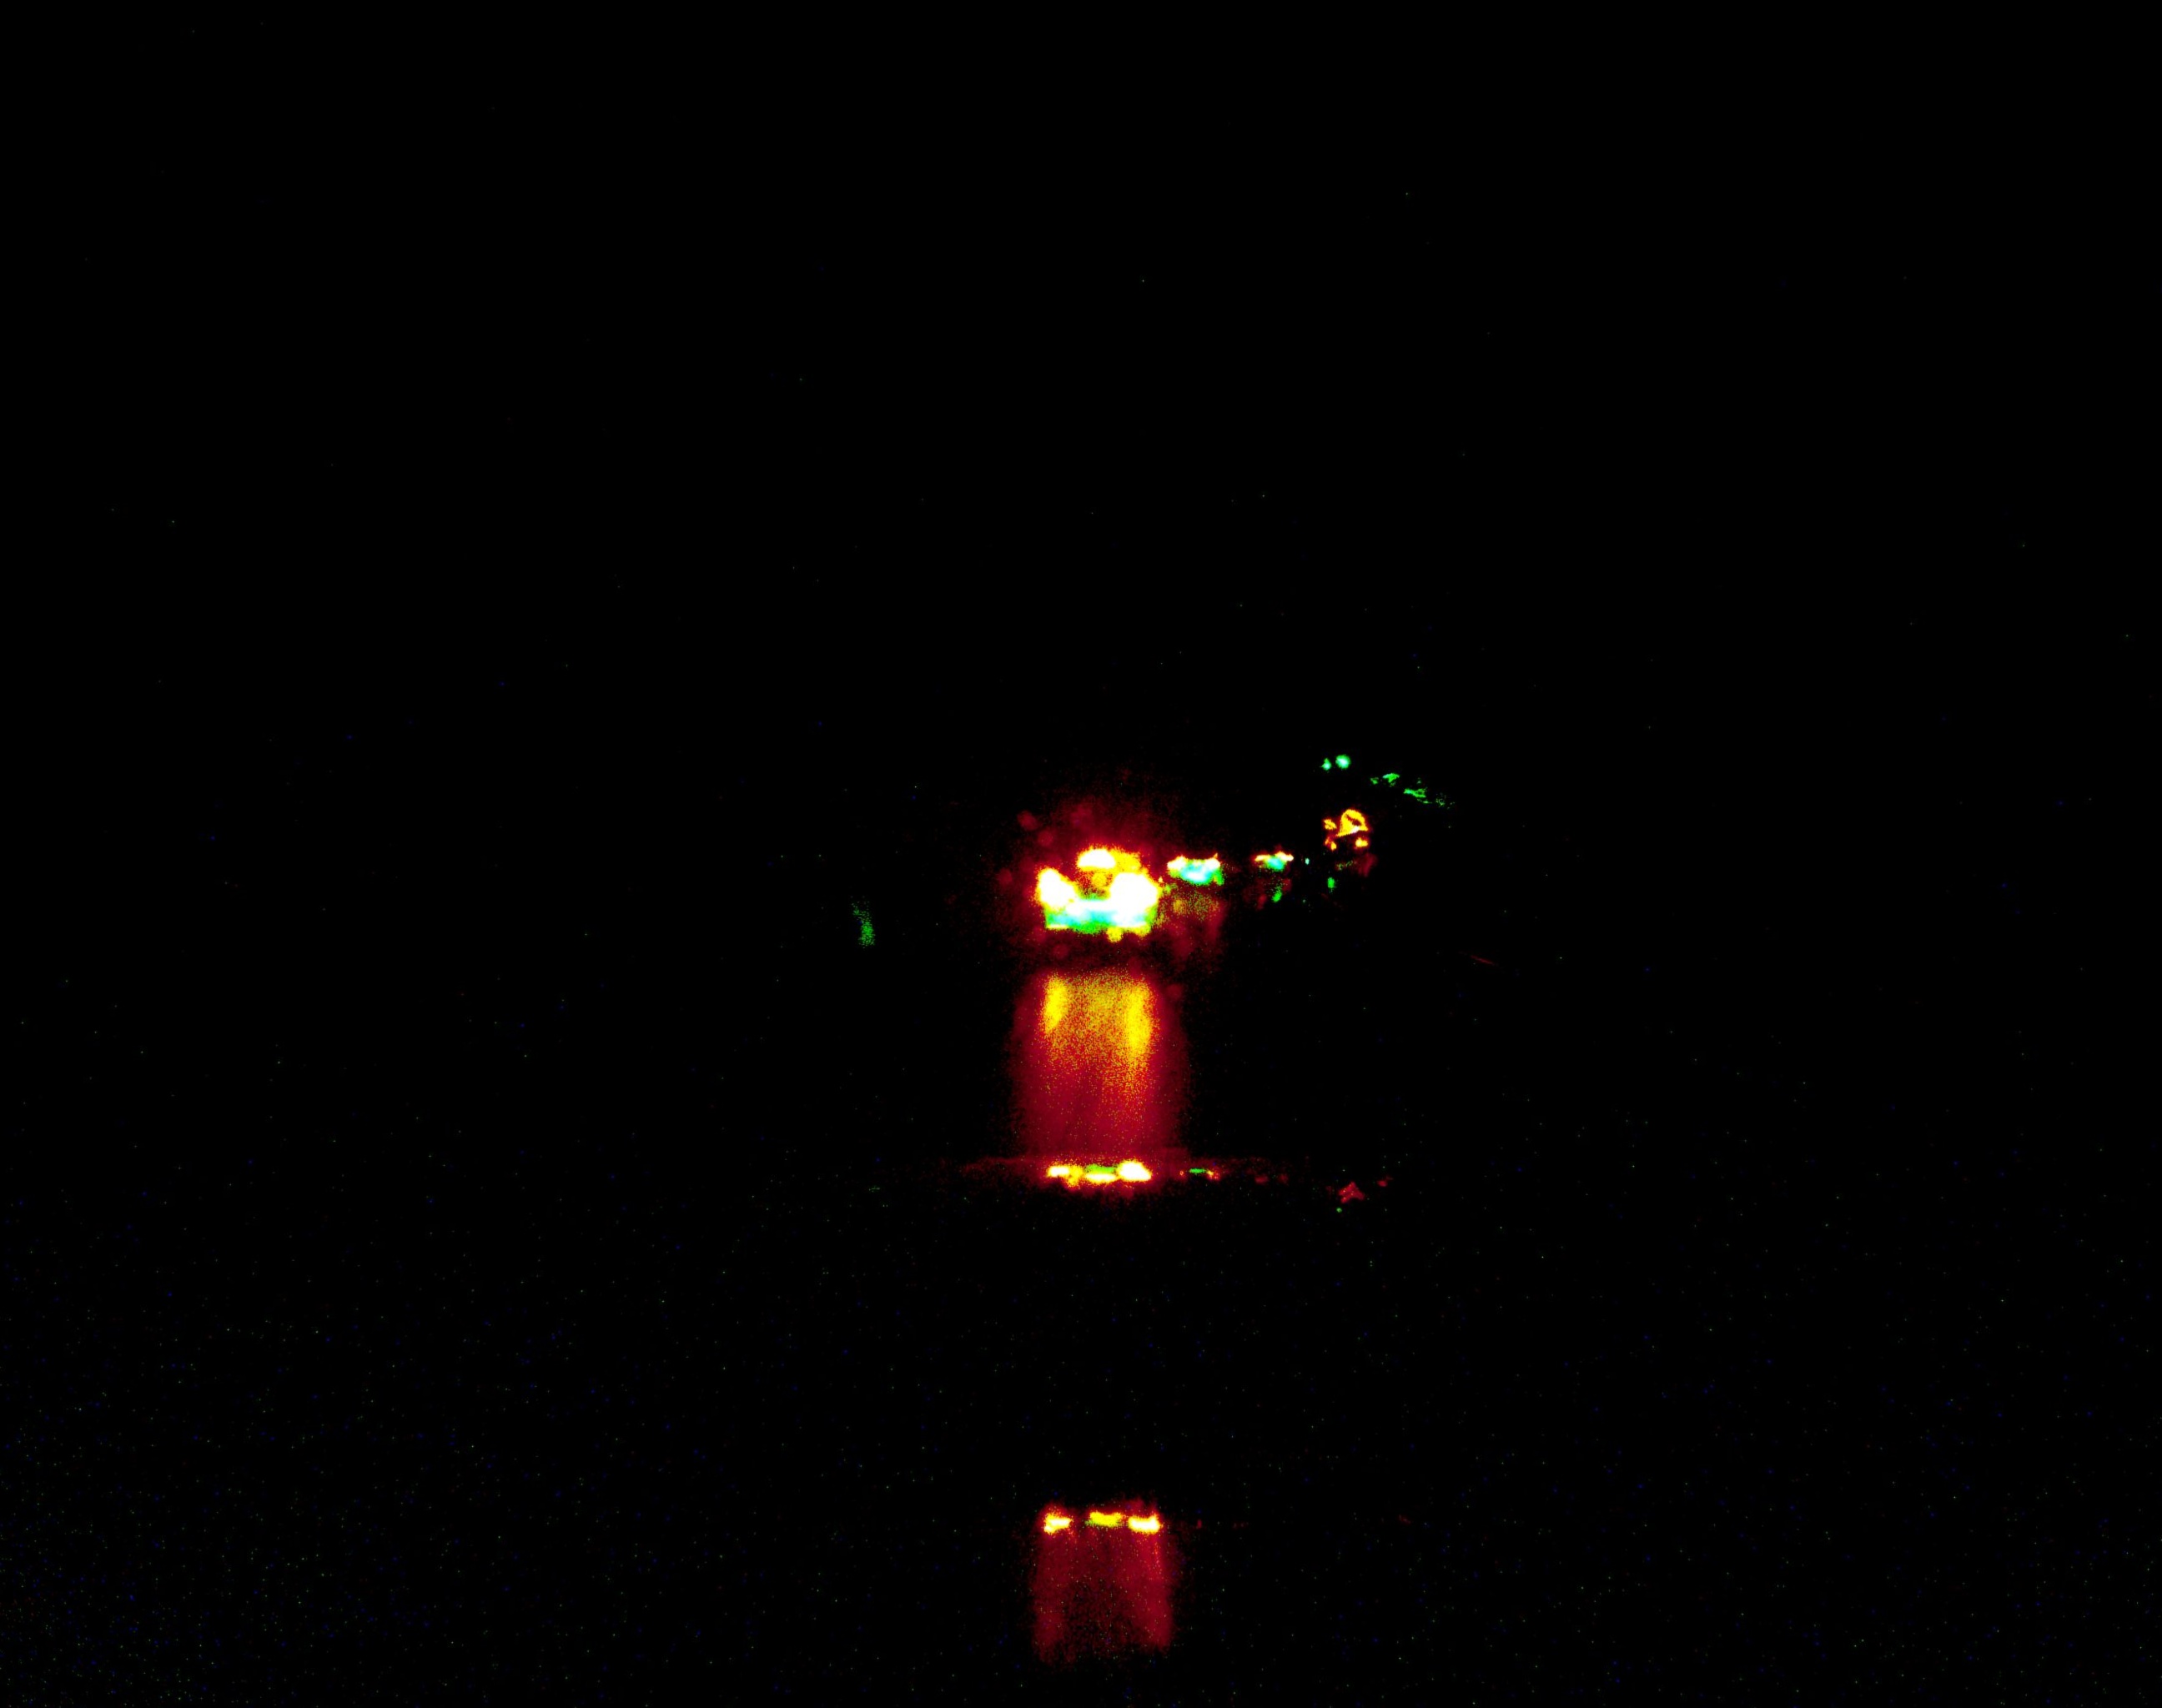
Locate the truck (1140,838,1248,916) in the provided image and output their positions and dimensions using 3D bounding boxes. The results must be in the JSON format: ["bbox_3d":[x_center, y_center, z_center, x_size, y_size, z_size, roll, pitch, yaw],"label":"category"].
[{"bbox_3d":[4.385,0.779,30.183,3.047,2.528,7.195,-1,0,15],"label":"truck"}]

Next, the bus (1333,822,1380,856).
[{"bbox_3d":[27.389,-1.488,80.684,2.717,3.123,9.259,-1,1,30],"label":"bus"}]

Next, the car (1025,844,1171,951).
[{"bbox_3d":[0.438,0.640,13.585,1.933,1.491,3.724,-2,0,8],"label":"car"}]

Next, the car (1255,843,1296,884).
[{"bbox_3d":[9.920,0.484,41.386,1.822,1.948,4.017,-1,0,16],"label":"car"}]
